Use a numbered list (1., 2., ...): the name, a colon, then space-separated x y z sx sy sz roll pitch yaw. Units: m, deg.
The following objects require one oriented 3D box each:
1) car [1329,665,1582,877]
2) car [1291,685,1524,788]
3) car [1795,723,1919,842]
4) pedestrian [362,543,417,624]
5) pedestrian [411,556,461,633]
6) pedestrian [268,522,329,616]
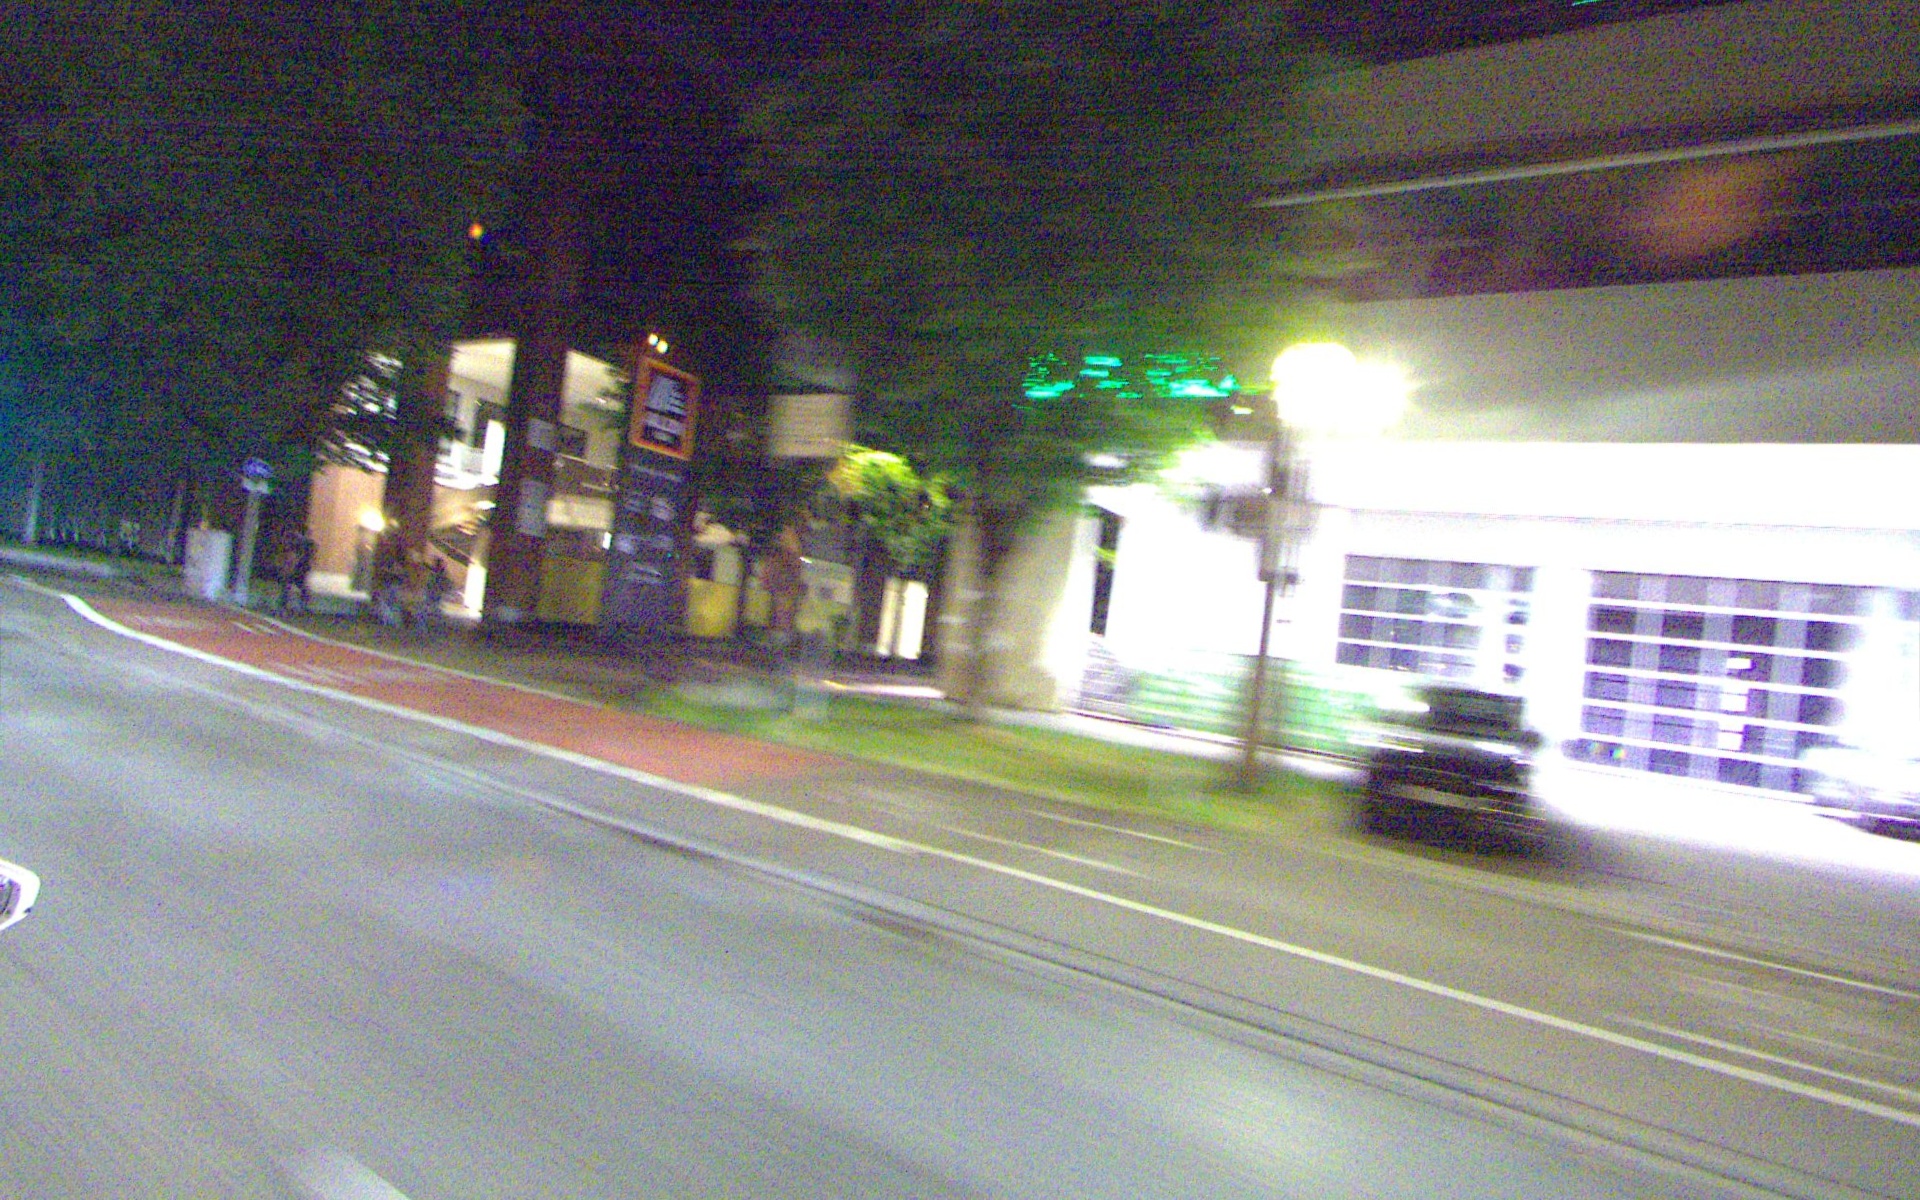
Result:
1. car: 5.105 1.556 10.186 1.757 1.471 4.089 6 -1 30
2. car: 7.776 2.328 17.551 3.480 1.181 1.461 6 -2 31
3. car: 15.236 2.941 16.319 1.685 1.584 3.961 6 -2 28
4. pedestrian: -12.409 -0.362 21.876 0.668 1.658 0.622 7 0 32
5. pedestrian: -11.271 -0.115 21.641 0.623 1.552 0.573 7 0 32
6. pedestrian: -13.694 -0.634 20.827 0.746 1.833 0.622 7 0 32
